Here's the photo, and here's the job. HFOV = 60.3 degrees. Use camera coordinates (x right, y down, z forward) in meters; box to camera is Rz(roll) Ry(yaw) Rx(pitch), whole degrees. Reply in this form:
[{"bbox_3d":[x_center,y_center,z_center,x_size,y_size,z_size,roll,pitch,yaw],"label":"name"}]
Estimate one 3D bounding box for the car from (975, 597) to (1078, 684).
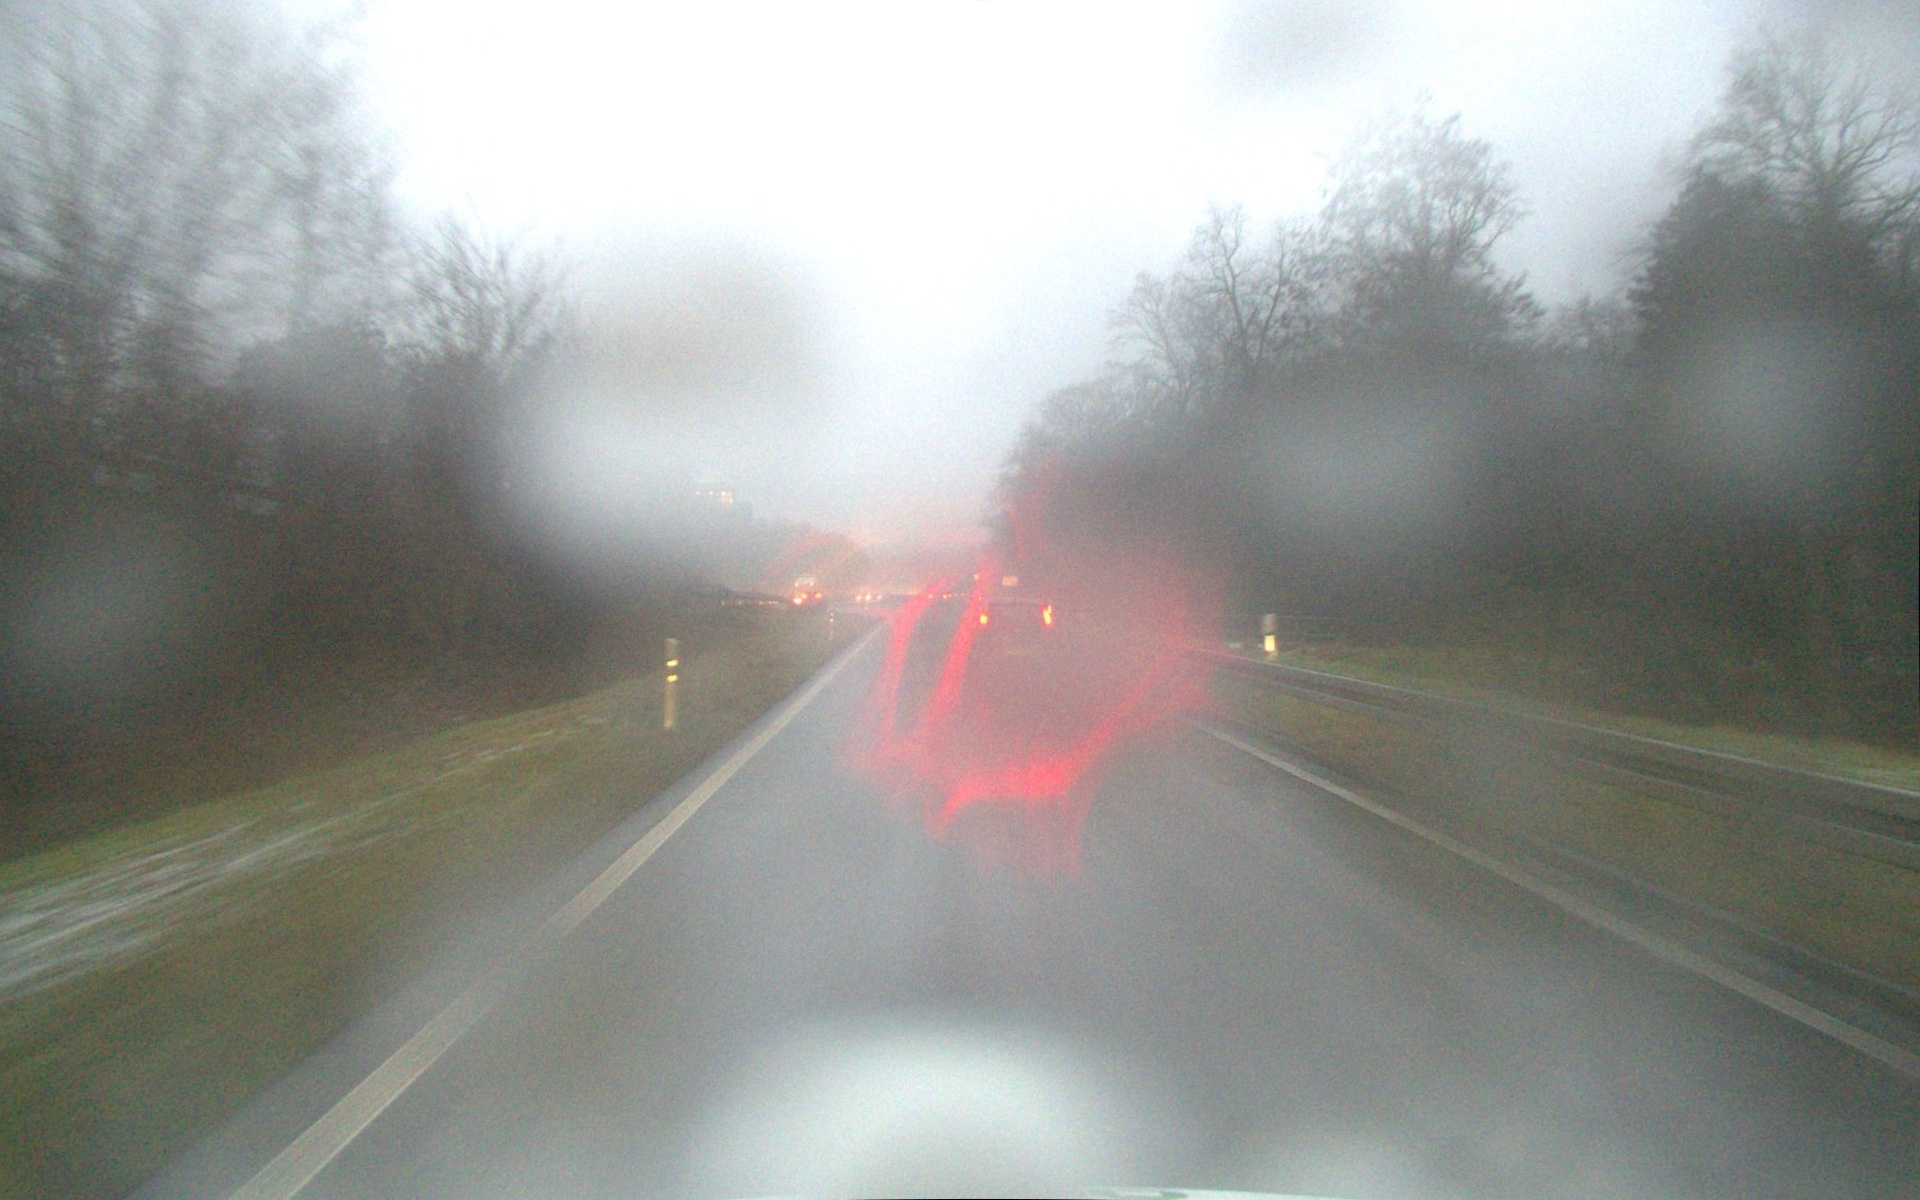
[{"bbox_3d":[1.203,0.730,31.264,1.697,1.454,3.765,3,0,-1],"label":"car"}]
